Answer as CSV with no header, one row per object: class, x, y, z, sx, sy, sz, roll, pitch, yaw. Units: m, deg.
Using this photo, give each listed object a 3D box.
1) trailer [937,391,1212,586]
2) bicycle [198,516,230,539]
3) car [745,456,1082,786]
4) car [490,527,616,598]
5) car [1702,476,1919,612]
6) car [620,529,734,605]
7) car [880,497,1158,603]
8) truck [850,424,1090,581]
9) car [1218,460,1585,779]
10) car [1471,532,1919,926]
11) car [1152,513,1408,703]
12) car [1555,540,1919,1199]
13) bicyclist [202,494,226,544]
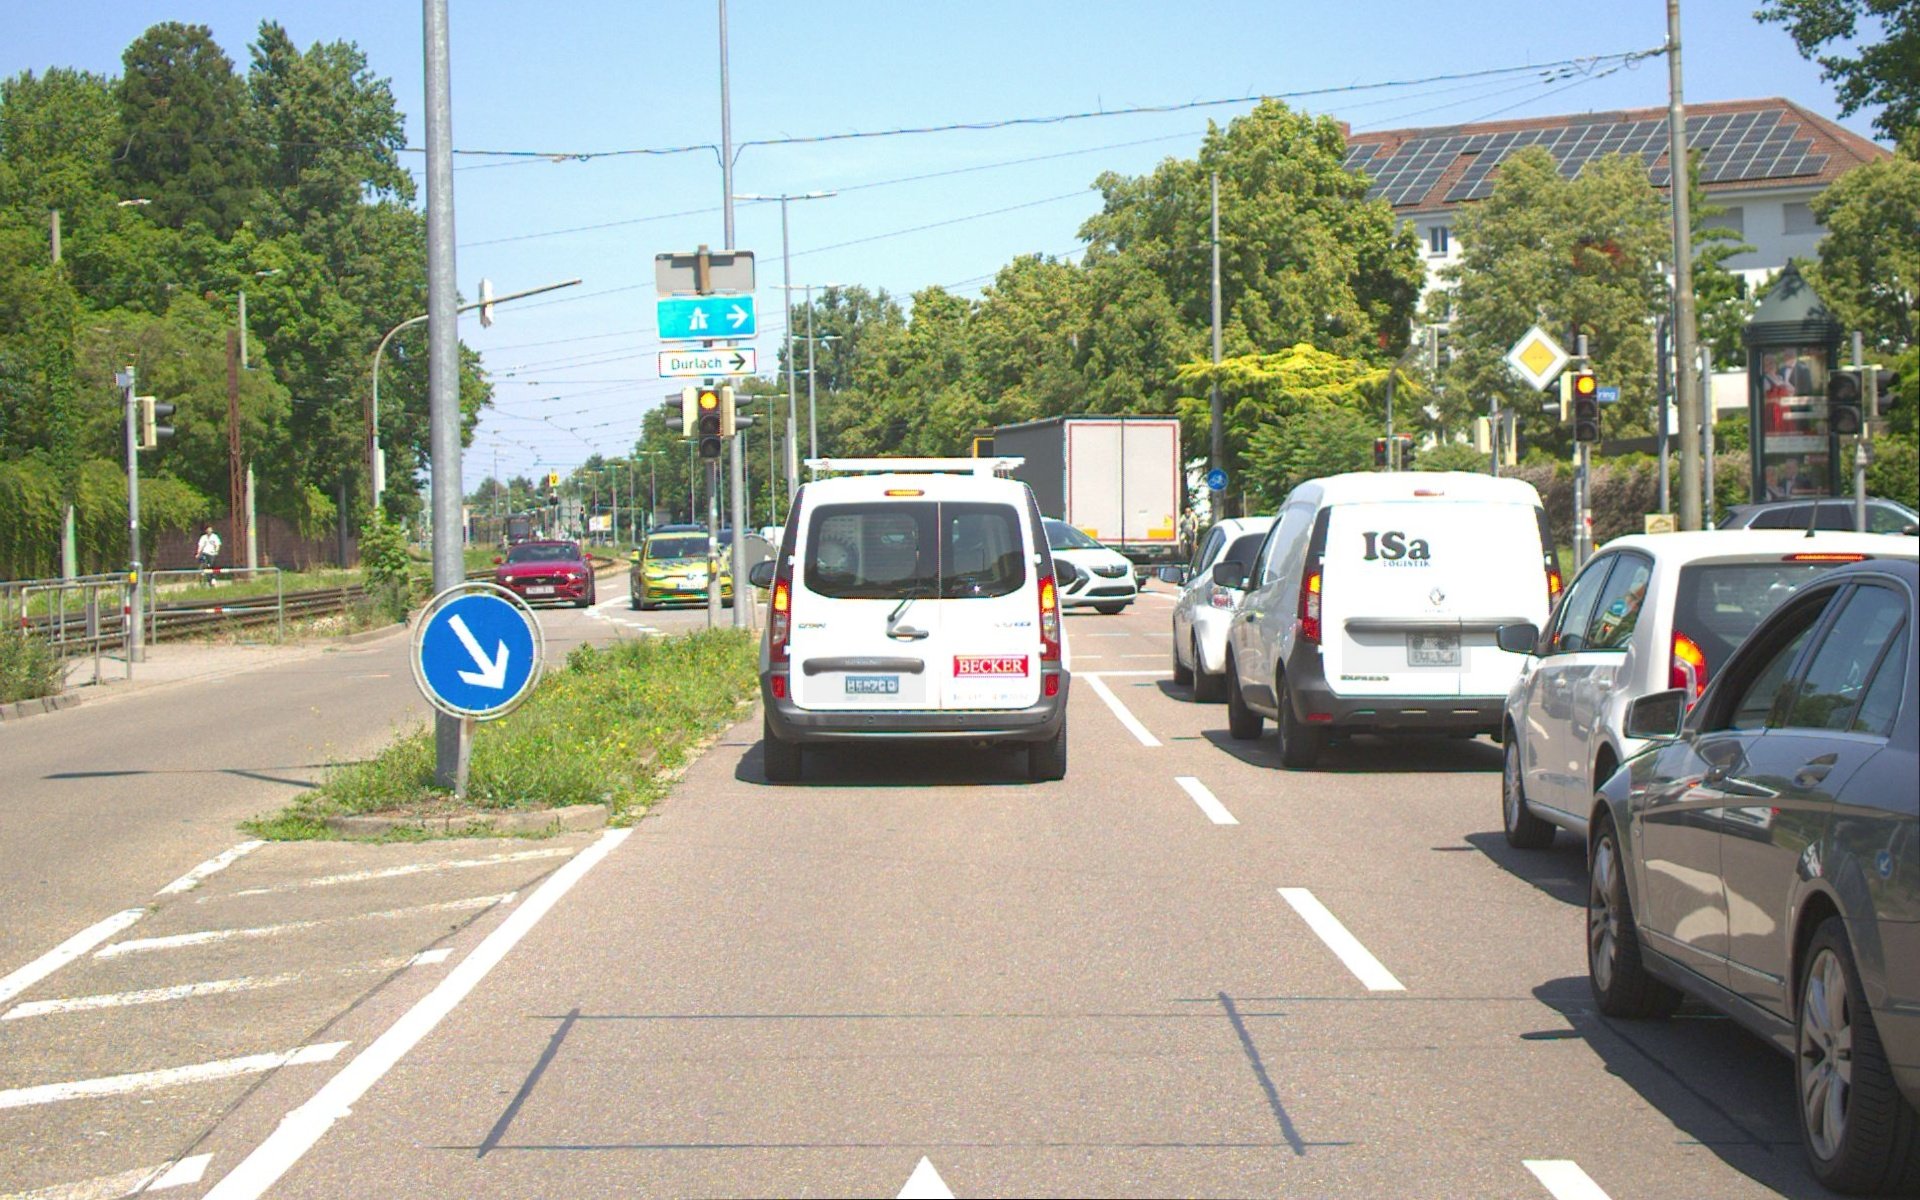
trailer,2.392,-2.430,76.342,3.527,4.036,8.980,-1,1,-15
bicycle,-22.069,-2.148,101.743,0.561,0.645,1.720,-1,1,0
car,-0.302,0.069,21.012,1.866,1.829,3.849,0,1,-1
car,-8.324,-0.799,70.685,1.984,1.354,4.538,-1,1,0
car,12.766,-0.800,48.172,4.528,1.822,1.999,-1,1,15
car,-5.429,-0.649,65.579,1.538,1.374,4.004,-1,1,-14
car,0.917,-0.800,55.443,1.994,1.612,4.453,-2,2,-41
truck,0.116,-2.372,84.908,3.575,3.620,8.811,-1,1,-16
car,2.700,0.064,21.874,1.710,1.824,4.014,1,1,-1
car,3.249,0.453,14.674,1.607,1.446,3.521,1,1,0
car,2.682,0.015,29.597,1.756,1.481,4.000,-1,1,-1
car,2.801,0.588,8.804,1.795,1.444,4.418,-1,1,0
bicyclist,-22.069,-2.389,101.704,0.558,1.473,0.561,-1,1,0
